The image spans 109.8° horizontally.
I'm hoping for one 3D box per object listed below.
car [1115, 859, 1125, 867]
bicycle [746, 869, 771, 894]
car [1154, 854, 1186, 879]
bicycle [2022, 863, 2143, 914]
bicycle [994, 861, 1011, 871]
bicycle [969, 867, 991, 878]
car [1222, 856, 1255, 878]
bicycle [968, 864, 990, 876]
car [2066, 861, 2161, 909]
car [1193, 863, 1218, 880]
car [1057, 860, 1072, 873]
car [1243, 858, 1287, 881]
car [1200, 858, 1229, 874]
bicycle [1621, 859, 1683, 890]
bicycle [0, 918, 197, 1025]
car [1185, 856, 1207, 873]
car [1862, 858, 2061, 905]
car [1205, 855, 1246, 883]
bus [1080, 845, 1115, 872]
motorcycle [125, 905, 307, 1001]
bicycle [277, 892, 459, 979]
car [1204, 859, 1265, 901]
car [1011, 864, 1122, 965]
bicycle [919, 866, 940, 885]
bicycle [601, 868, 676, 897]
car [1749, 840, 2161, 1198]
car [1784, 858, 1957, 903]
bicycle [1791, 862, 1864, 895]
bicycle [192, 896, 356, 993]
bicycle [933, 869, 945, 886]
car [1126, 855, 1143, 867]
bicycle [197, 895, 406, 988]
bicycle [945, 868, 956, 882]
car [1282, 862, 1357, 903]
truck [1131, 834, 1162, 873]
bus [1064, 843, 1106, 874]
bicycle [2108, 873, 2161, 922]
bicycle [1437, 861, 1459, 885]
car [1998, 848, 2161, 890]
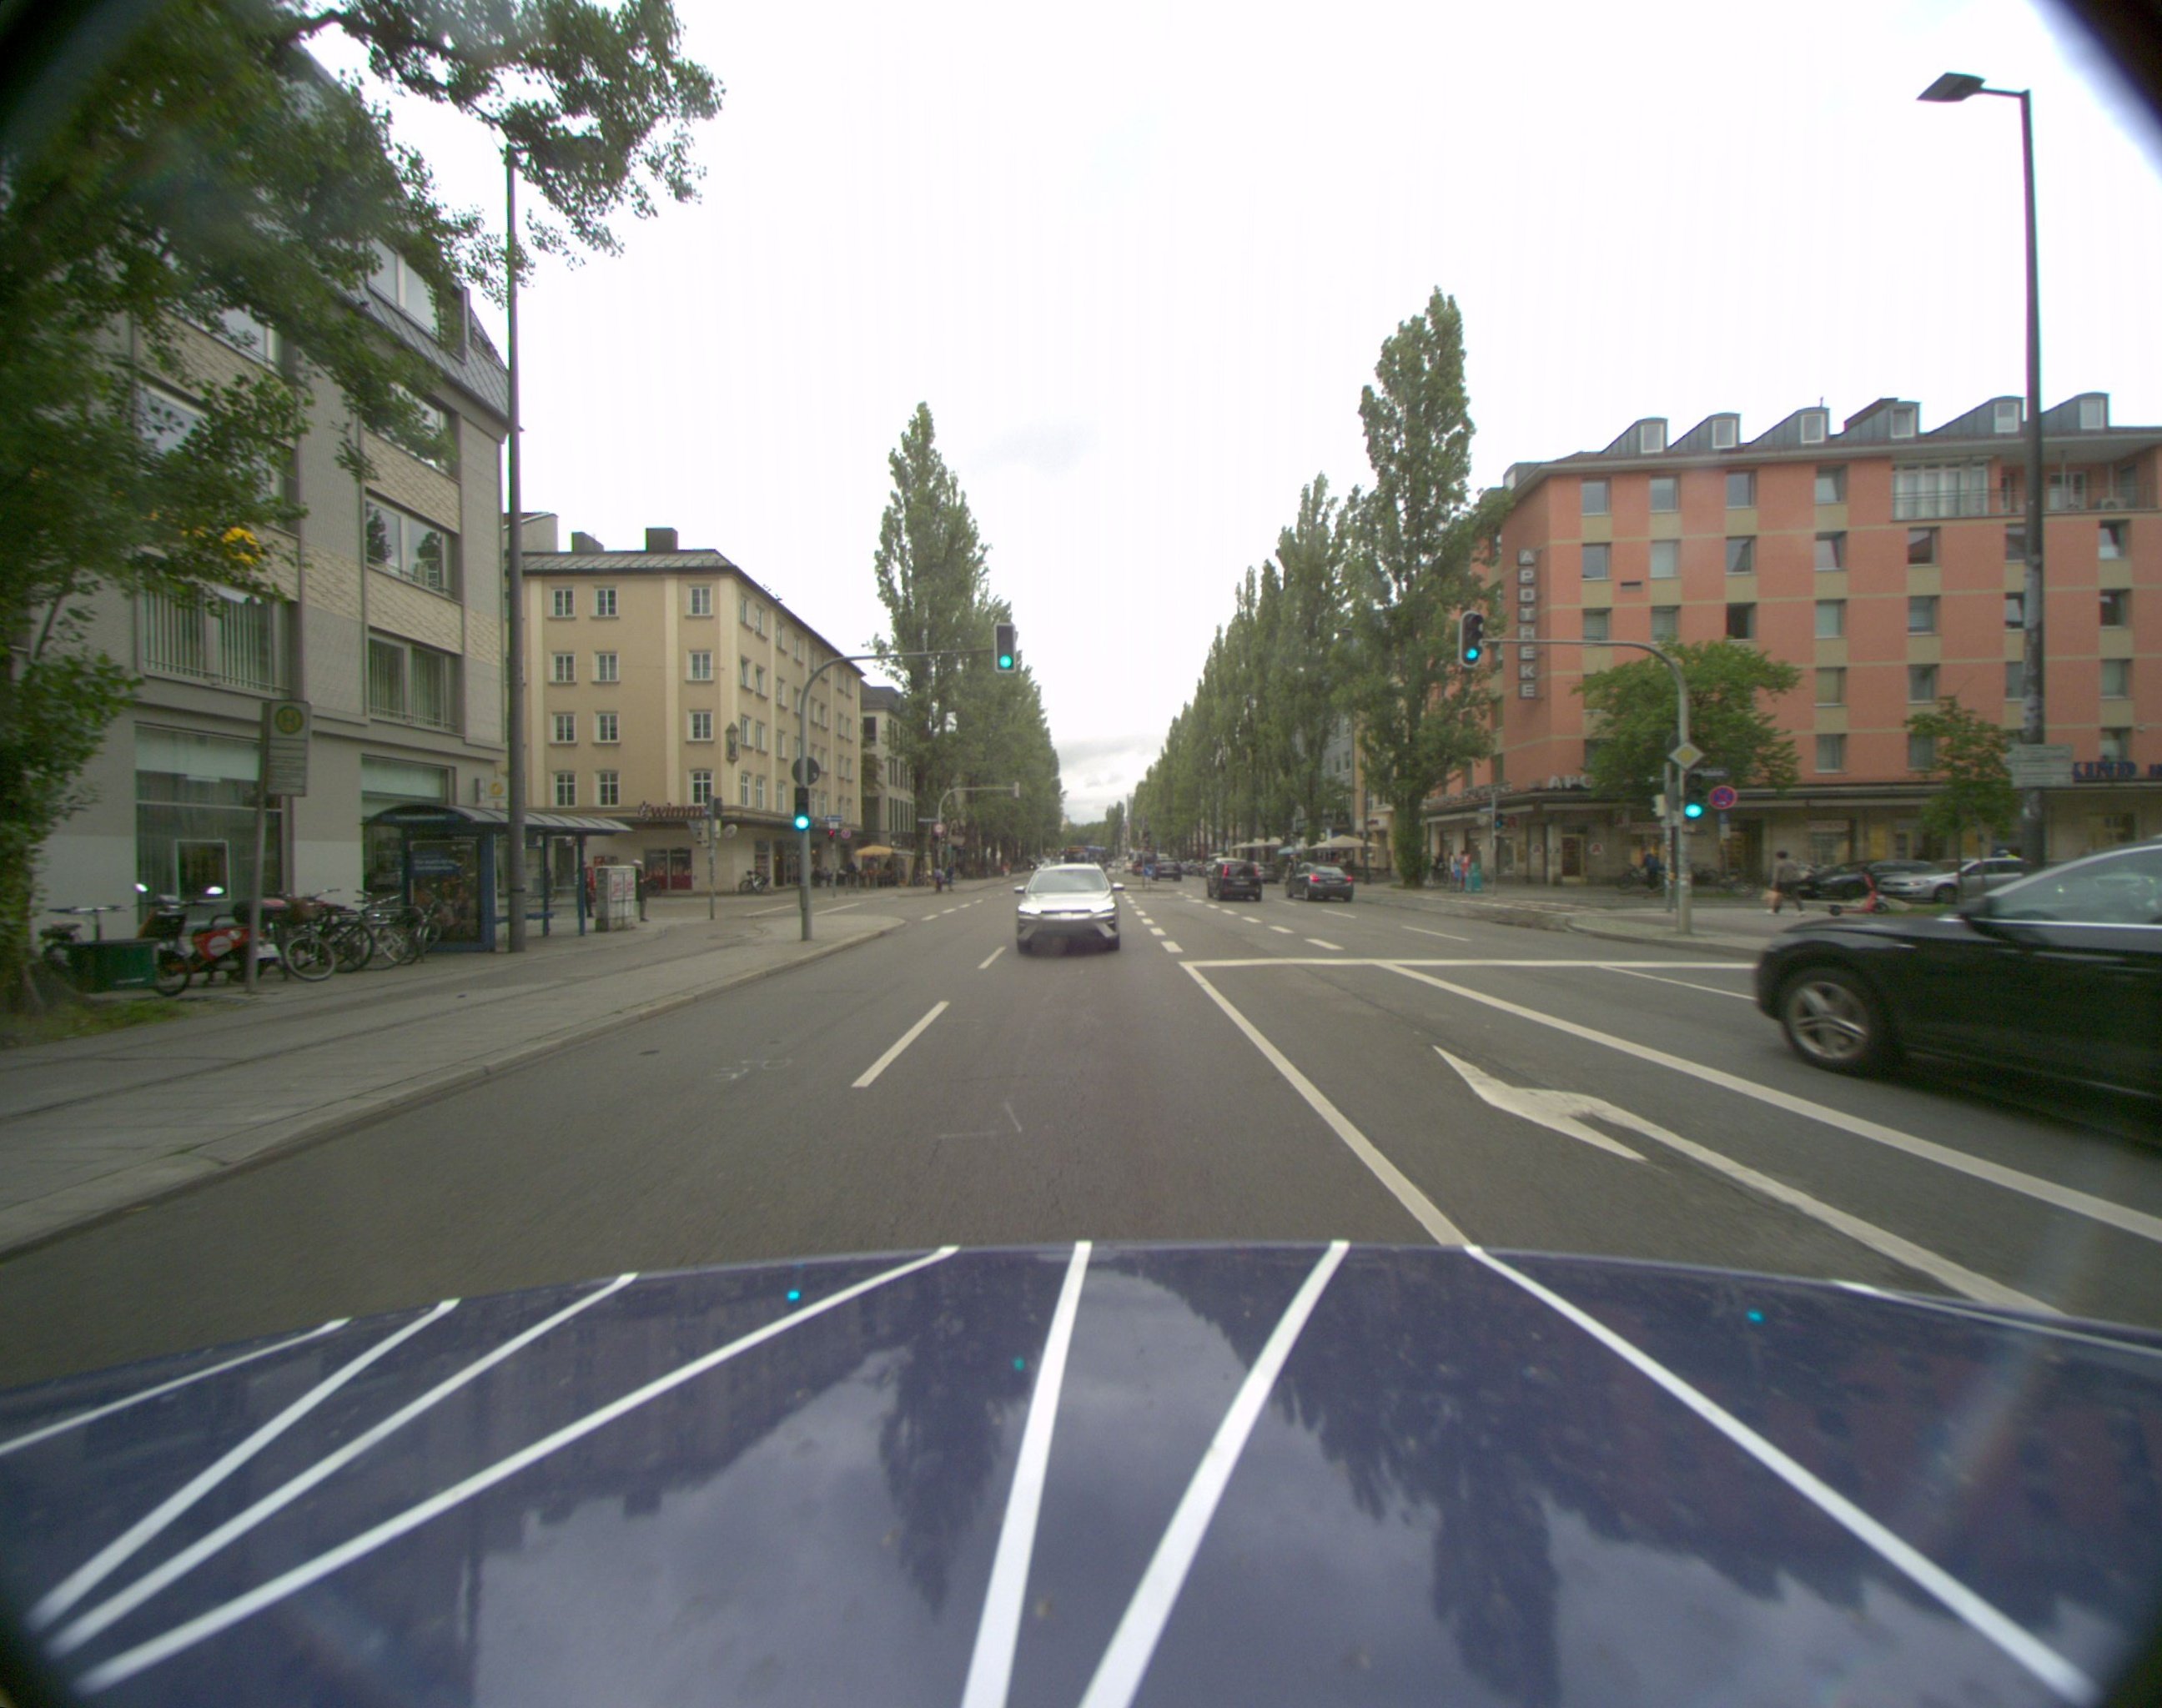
[{"bbox_3d":[8.223,1.890,159.603,1.848,1.626,4.575,1,0,1],"label":"car"},{"bbox_3d":[-16.176,1.387,38.114,0.435,1.164,1.811,-2,0,-1],"label":"bicycle"},{"bbox_3d":[6.456,0.895,55.692,1.889,1.736,4.439,-1,0,1],"label":"car"},{"bbox_3d":[24.597,0.814,18.709,0.416,1.177,1.852,-1,0,-6],"label":"bicycle"},{"bbox_3d":[-9.053,1.425,88.040,1.902,1.120,0.686,-1,0,1],"label":"bicycle"},{"bbox_3d":[-9.393,1.733,70.692,2.005,0.939,0.286,-1,0,-8],"label":"bicycle"},{"bbox_3d":[12.040,0.988,58.234,1.707,1.574,4.096,0,0,1],"label":"car"},{"bbox_3d":[-9.436,1.477,70.326,2.005,1.077,0.286,-1,0,-9],"label":"bicycle"},{"bbox_3d":[34.328,0.954,23.901,3.994,1.412,1.743,-1,0,9],"label":"car"},{"bbox_3d":[12.013,1.657,73.661,1.681,1.458,4.370,0,0,0],"label":"car"},{"bbox_3d":[-2.196,1.653,102.097,1.758,1.529,3.916,-2,0,0],"label":"car"},{"bbox_3d":[12.113,0.995,50.270,1.707,1.430,4.589,0,0,-1],"label":"car"},{"bbox_3d":[11.882,1.039,67.910,1.707,1.404,4.433,-1,0,-1],"label":"car"},{"bbox_3d":[23.159,0.826,30.834,2.060,1.177,0.417,-2,1,8],"label":"bicycle"},{"bbox_3d":[-11.134,1.246,8.197,2.153,1.011,0.874,-1,0,0],"label":"bicycle"},{"bbox_3d":[12.020,1.033,79.724,1.784,1.671,4.586,1,0,2],"label":"car"},{"bbox_3d":[28.225,0.861,24.496,3.994,1.412,1.783,-1,0,9],"label":"car"},{"bbox_3d":[9.316,0.935,49.428,1.842,1.706,4.636,0,0,1],"label":"car"},{"bbox_3d":[2.082,0.509,90.788,2.804,2.886,12.865,-1,0,7],"label":"bus"},{"bbox_3d":[-10.868,1.229,9.571,1.728,1.133,0.510,-1,0,2],"label":"motorcycle"},{"bbox_3d":[-10.883,1.238,11.628,2.321,1.245,0.477,-1,0,0],"label":"bicycle"},{"bbox_3d":[5.874,0.967,29.411,1.565,1.487,3.694,0,0,0],"label":"car"},{"bbox_3d":[-0.234,1.018,14.336,1.758,1.529,3.916,-2,0,0],"label":"car"},{"bbox_3d":[-9.449,1.347,47.372,0.405,1.064,1.813,-6,-1,16],"label":"bicycle"},{"bbox_3d":[-21.232,1.376,36.513,2.978,1.245,0.999,-2,1,0],"label":"bicycle"},{"bbox_3d":[6.019,0.789,3.450,1.918,1.671,4.586,1,0,0],"label":"car"},{"bbox_3d":[28.011,0.922,27.087,3.994,1.412,1.783,-2,1,9],"label":"car"},{"bbox_3d":[28.466,0.930,28.986,2.060,1.177,0.538,-2,1,8],"label":"bicycle"},{"bbox_3d":[-10.757,1.195,10.146,1.728,1.232,0.449,-1,0,2],"label":"bicycle"},{"bbox_3d":[-9.275,1.506,49.764,0.510,1.042,1.770,-1,0,-1],"label":"bicycle"},{"bbox_3d":[6.799,0.882,96.418,1.848,1.493,4.986,0,0,0],"label":"car"},{"bbox_3d":[-11.241,1.243,11.003,2.349,1.245,0.633,-1,0,0],"label":"bicycle"},{"bbox_3d":[-9.192,1.458,53.649,0.510,0.970,1.770,-1,0,-1],"label":"bicycle"},{"bbox_3d":[9.106,1.047,29.325,1.646,1.431,3.997,0,0,0],"label":"car"},{"bbox_3d":[6.501,-0.064,76.873,2.469,3.649,8.438,-1,1,0],"label":"truck"},{"bbox_3d":[0.605,0.463,78.665,2.804,2.886,12.865,-1,0,7],"label":"bus"},{"bbox_3d":[26.586,1.074,18.400,0.417,1.177,2.005,-1,0,-19],"label":"bicycle"},{"bbox_3d":[17.770,0.900,36.848,0.422,1.135,1.374,-1,0,1],"label":"bicycle"},{"bbox_3d":[35.307,0.509,26.532,3.942,1.412,1.892,-1,0,9],"label":"car"}]
